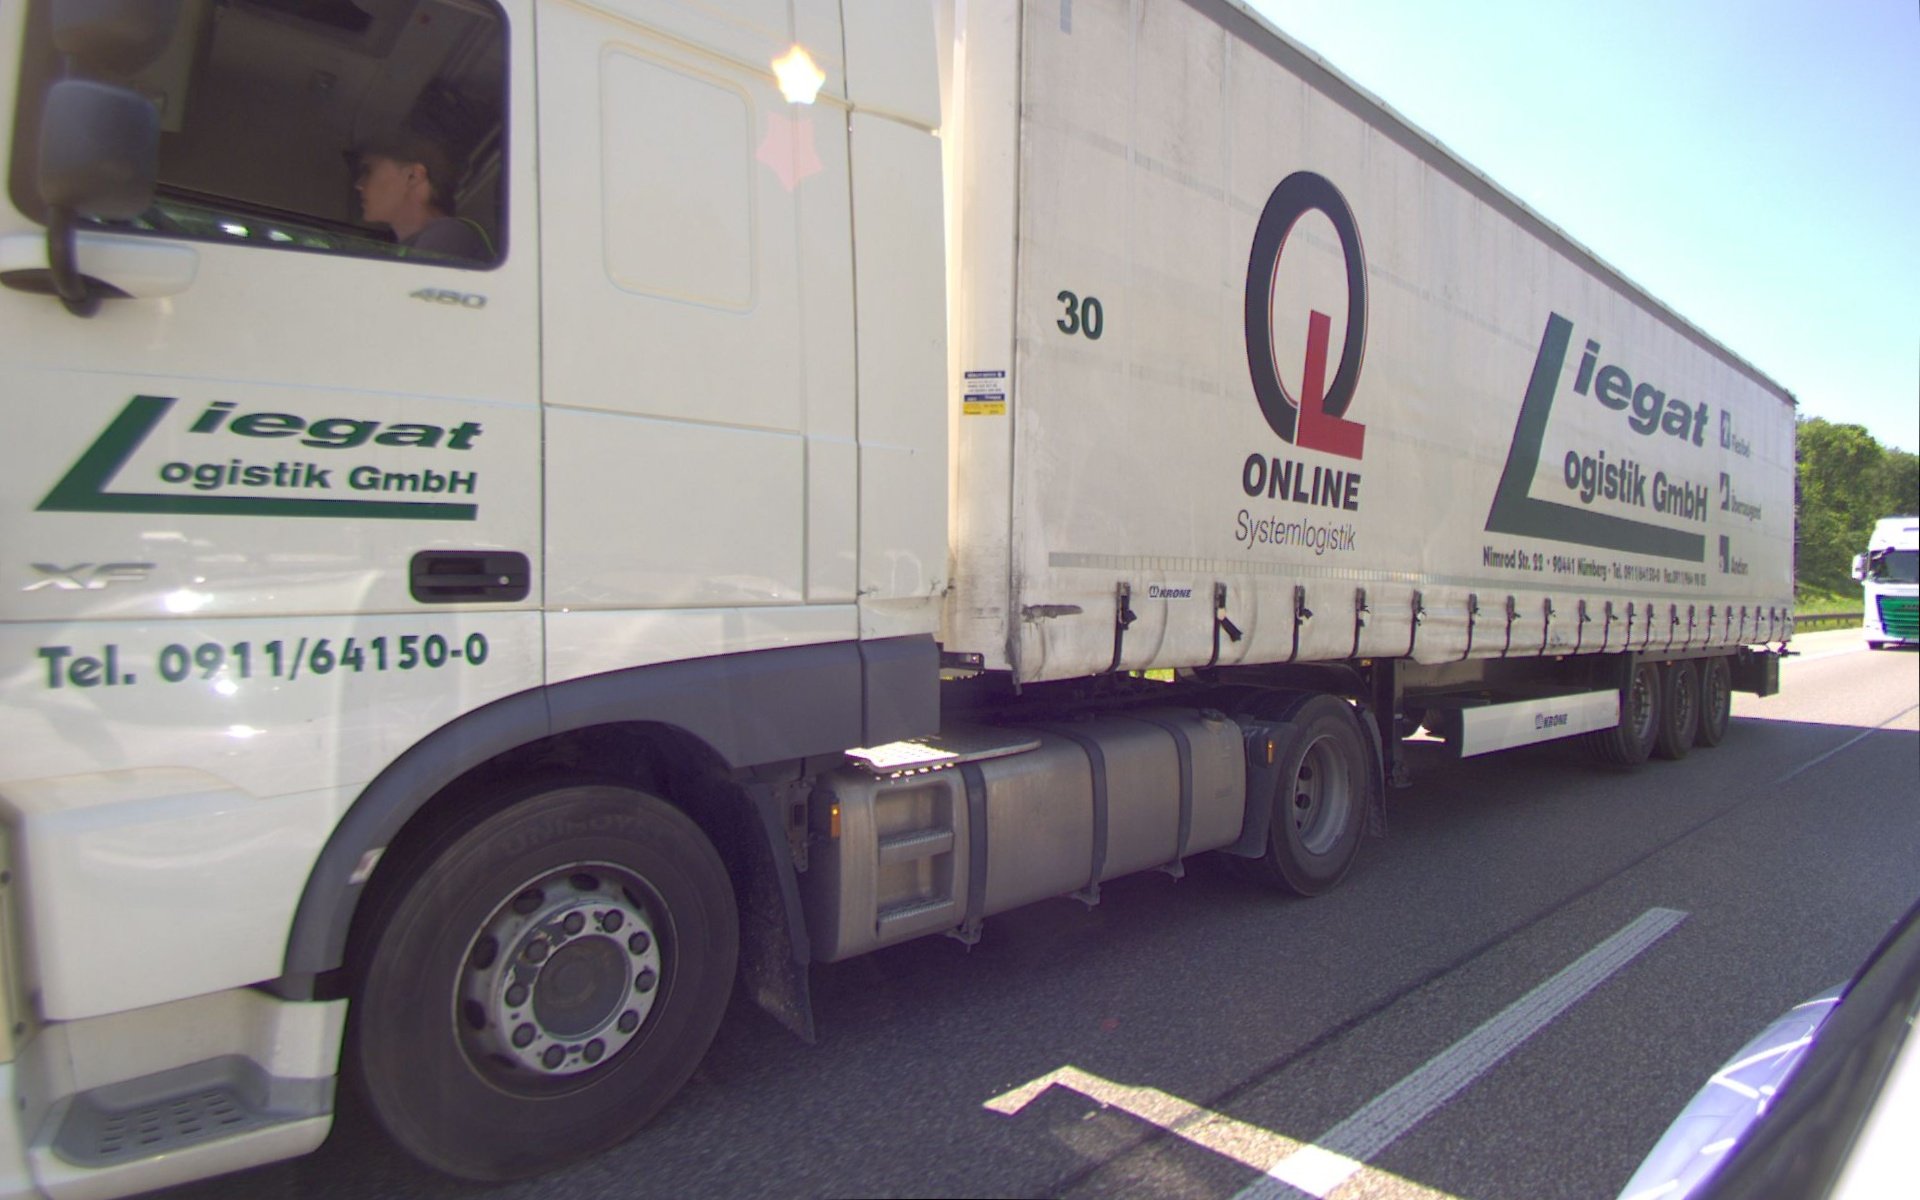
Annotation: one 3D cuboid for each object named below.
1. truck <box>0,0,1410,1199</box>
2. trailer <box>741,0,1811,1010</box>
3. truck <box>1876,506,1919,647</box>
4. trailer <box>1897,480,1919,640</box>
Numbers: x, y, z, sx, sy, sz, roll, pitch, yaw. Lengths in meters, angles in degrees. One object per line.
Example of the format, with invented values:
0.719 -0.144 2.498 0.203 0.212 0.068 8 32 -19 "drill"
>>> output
-0.684 -0.691 4.540 5.766 4.259 2.790 1 -1 -41 "truck"
4.550 -0.557 9.106 13.010 4.258 2.790 1 -1 -41 "trailer"
30.381 -0.737 31.106 6.510 4.079 2.540 -1 1 -41 "truck"
36.987 -1.398 36.728 15.002 5.103 2.573 -1 1 -40 "trailer"
